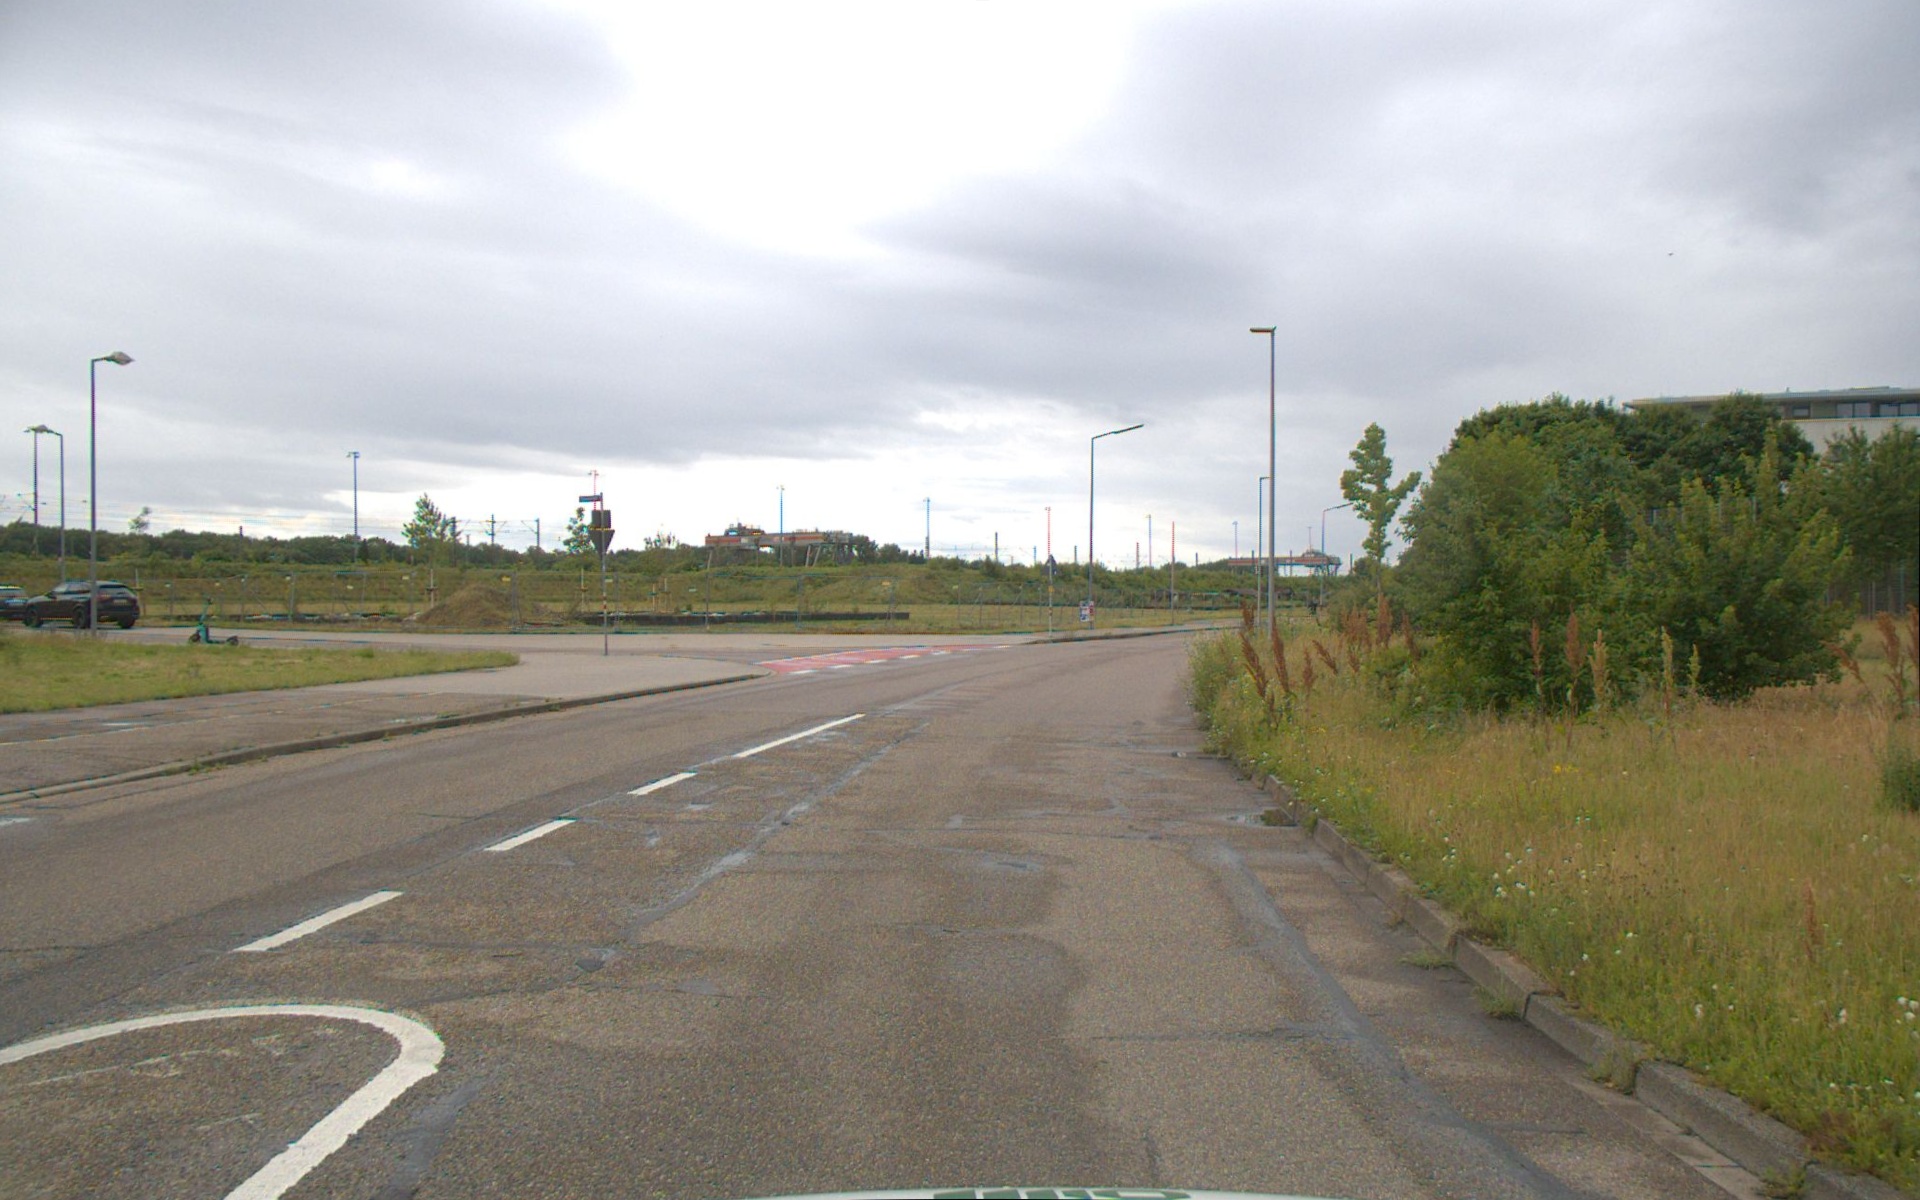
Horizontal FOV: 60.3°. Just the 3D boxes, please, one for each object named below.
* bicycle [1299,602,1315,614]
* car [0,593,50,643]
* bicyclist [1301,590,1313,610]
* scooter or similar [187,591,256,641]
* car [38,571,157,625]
[{"bbox_3d":[27.685,0.604,131.867,0.787,0.923,2.232,0,1,23],"label":"bicycle"},{"bbox_3d":[-35.584,0.635,61.219,3.597,1.783,1.801,1,1,32],"label":"car"},{"bbox_3d":[27.654,0.024,131.784,0.766,1.553,1.093,0,1,23],"label":"bicyclist"},{"bbox_3d":[-18.293,0.397,40.966,1.432,1.189,0.572,1,0,4],"label":"scooter or similar"},{"bbox_3d":[-30.640,-0.104,58.760,3.913,1.854,1.996,1,1,31],"label":"car"}]
